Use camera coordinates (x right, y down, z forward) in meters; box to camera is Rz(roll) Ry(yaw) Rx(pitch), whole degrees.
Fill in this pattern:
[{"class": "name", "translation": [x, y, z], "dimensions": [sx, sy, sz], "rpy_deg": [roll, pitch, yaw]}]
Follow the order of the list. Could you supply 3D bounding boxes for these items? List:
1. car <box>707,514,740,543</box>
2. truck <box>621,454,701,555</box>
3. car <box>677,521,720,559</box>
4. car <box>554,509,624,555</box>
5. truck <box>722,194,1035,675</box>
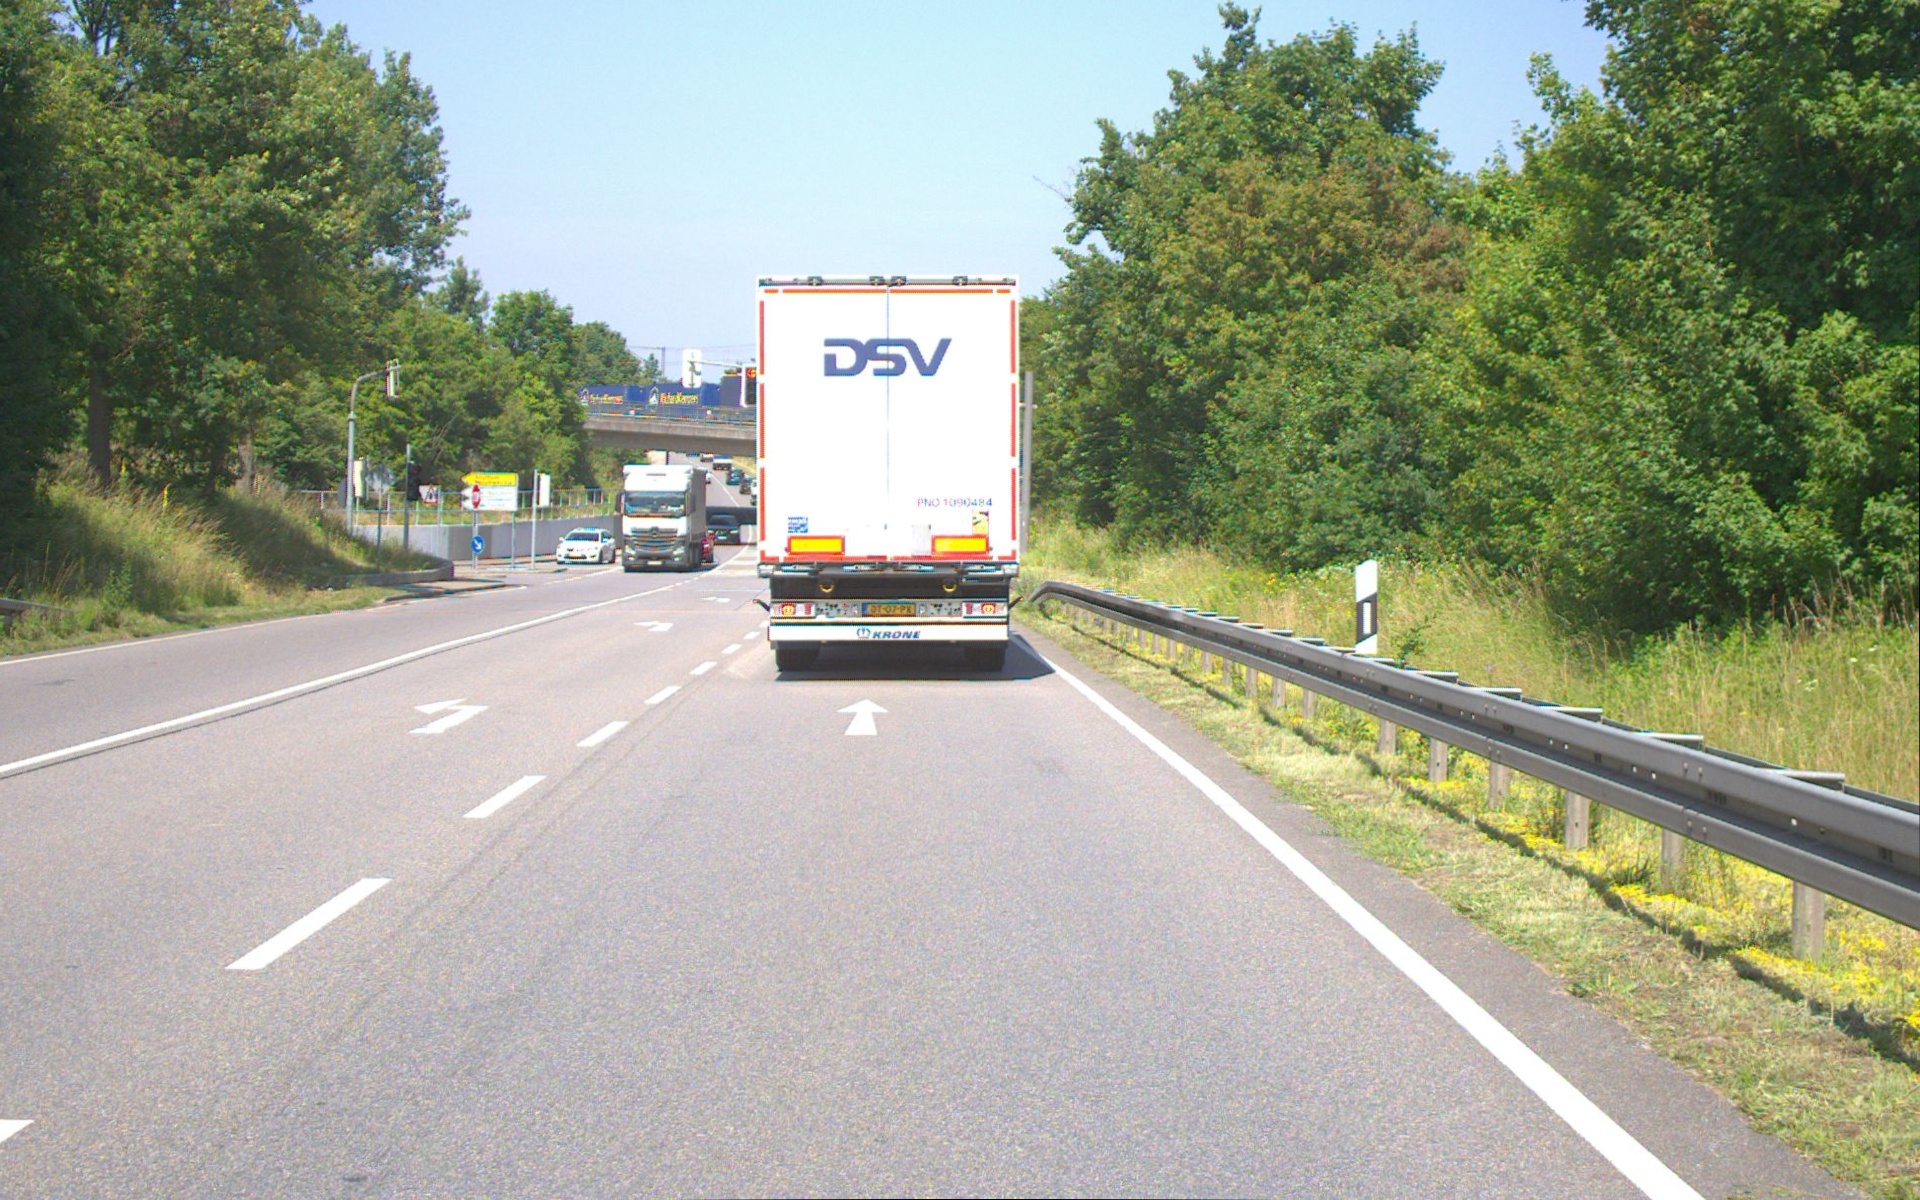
[{"class": "car", "translation": [-13.391, -4.047, 194.713], "dimensions": [1.747, 1.620, 3.704], "rpy_deg": [0, 2, -2]}, {"class": "truck", "translation": [-11.551, -3.709, 133.515], "dimensions": [2.353, 3.737, 12.627], "rpy_deg": [0, 2, -2]}, {"class": "car", "translation": [-11.496, -2.639, 151.315], "dimensions": [1.747, 1.620, 3.704], "rpy_deg": [0, 2, -2]}, {"class": "car", "translation": [-15.604, -2.877, 144.856], "dimensions": [1.802, 1.865, 4.418], "rpy_deg": [0, 2, 9]}, {"class": "truck", "translation": [-0.801, -1.674, 37.532], "dimensions": [2.950, 4.553, 9.863], "rpy_deg": [0, 1, 0]}]
